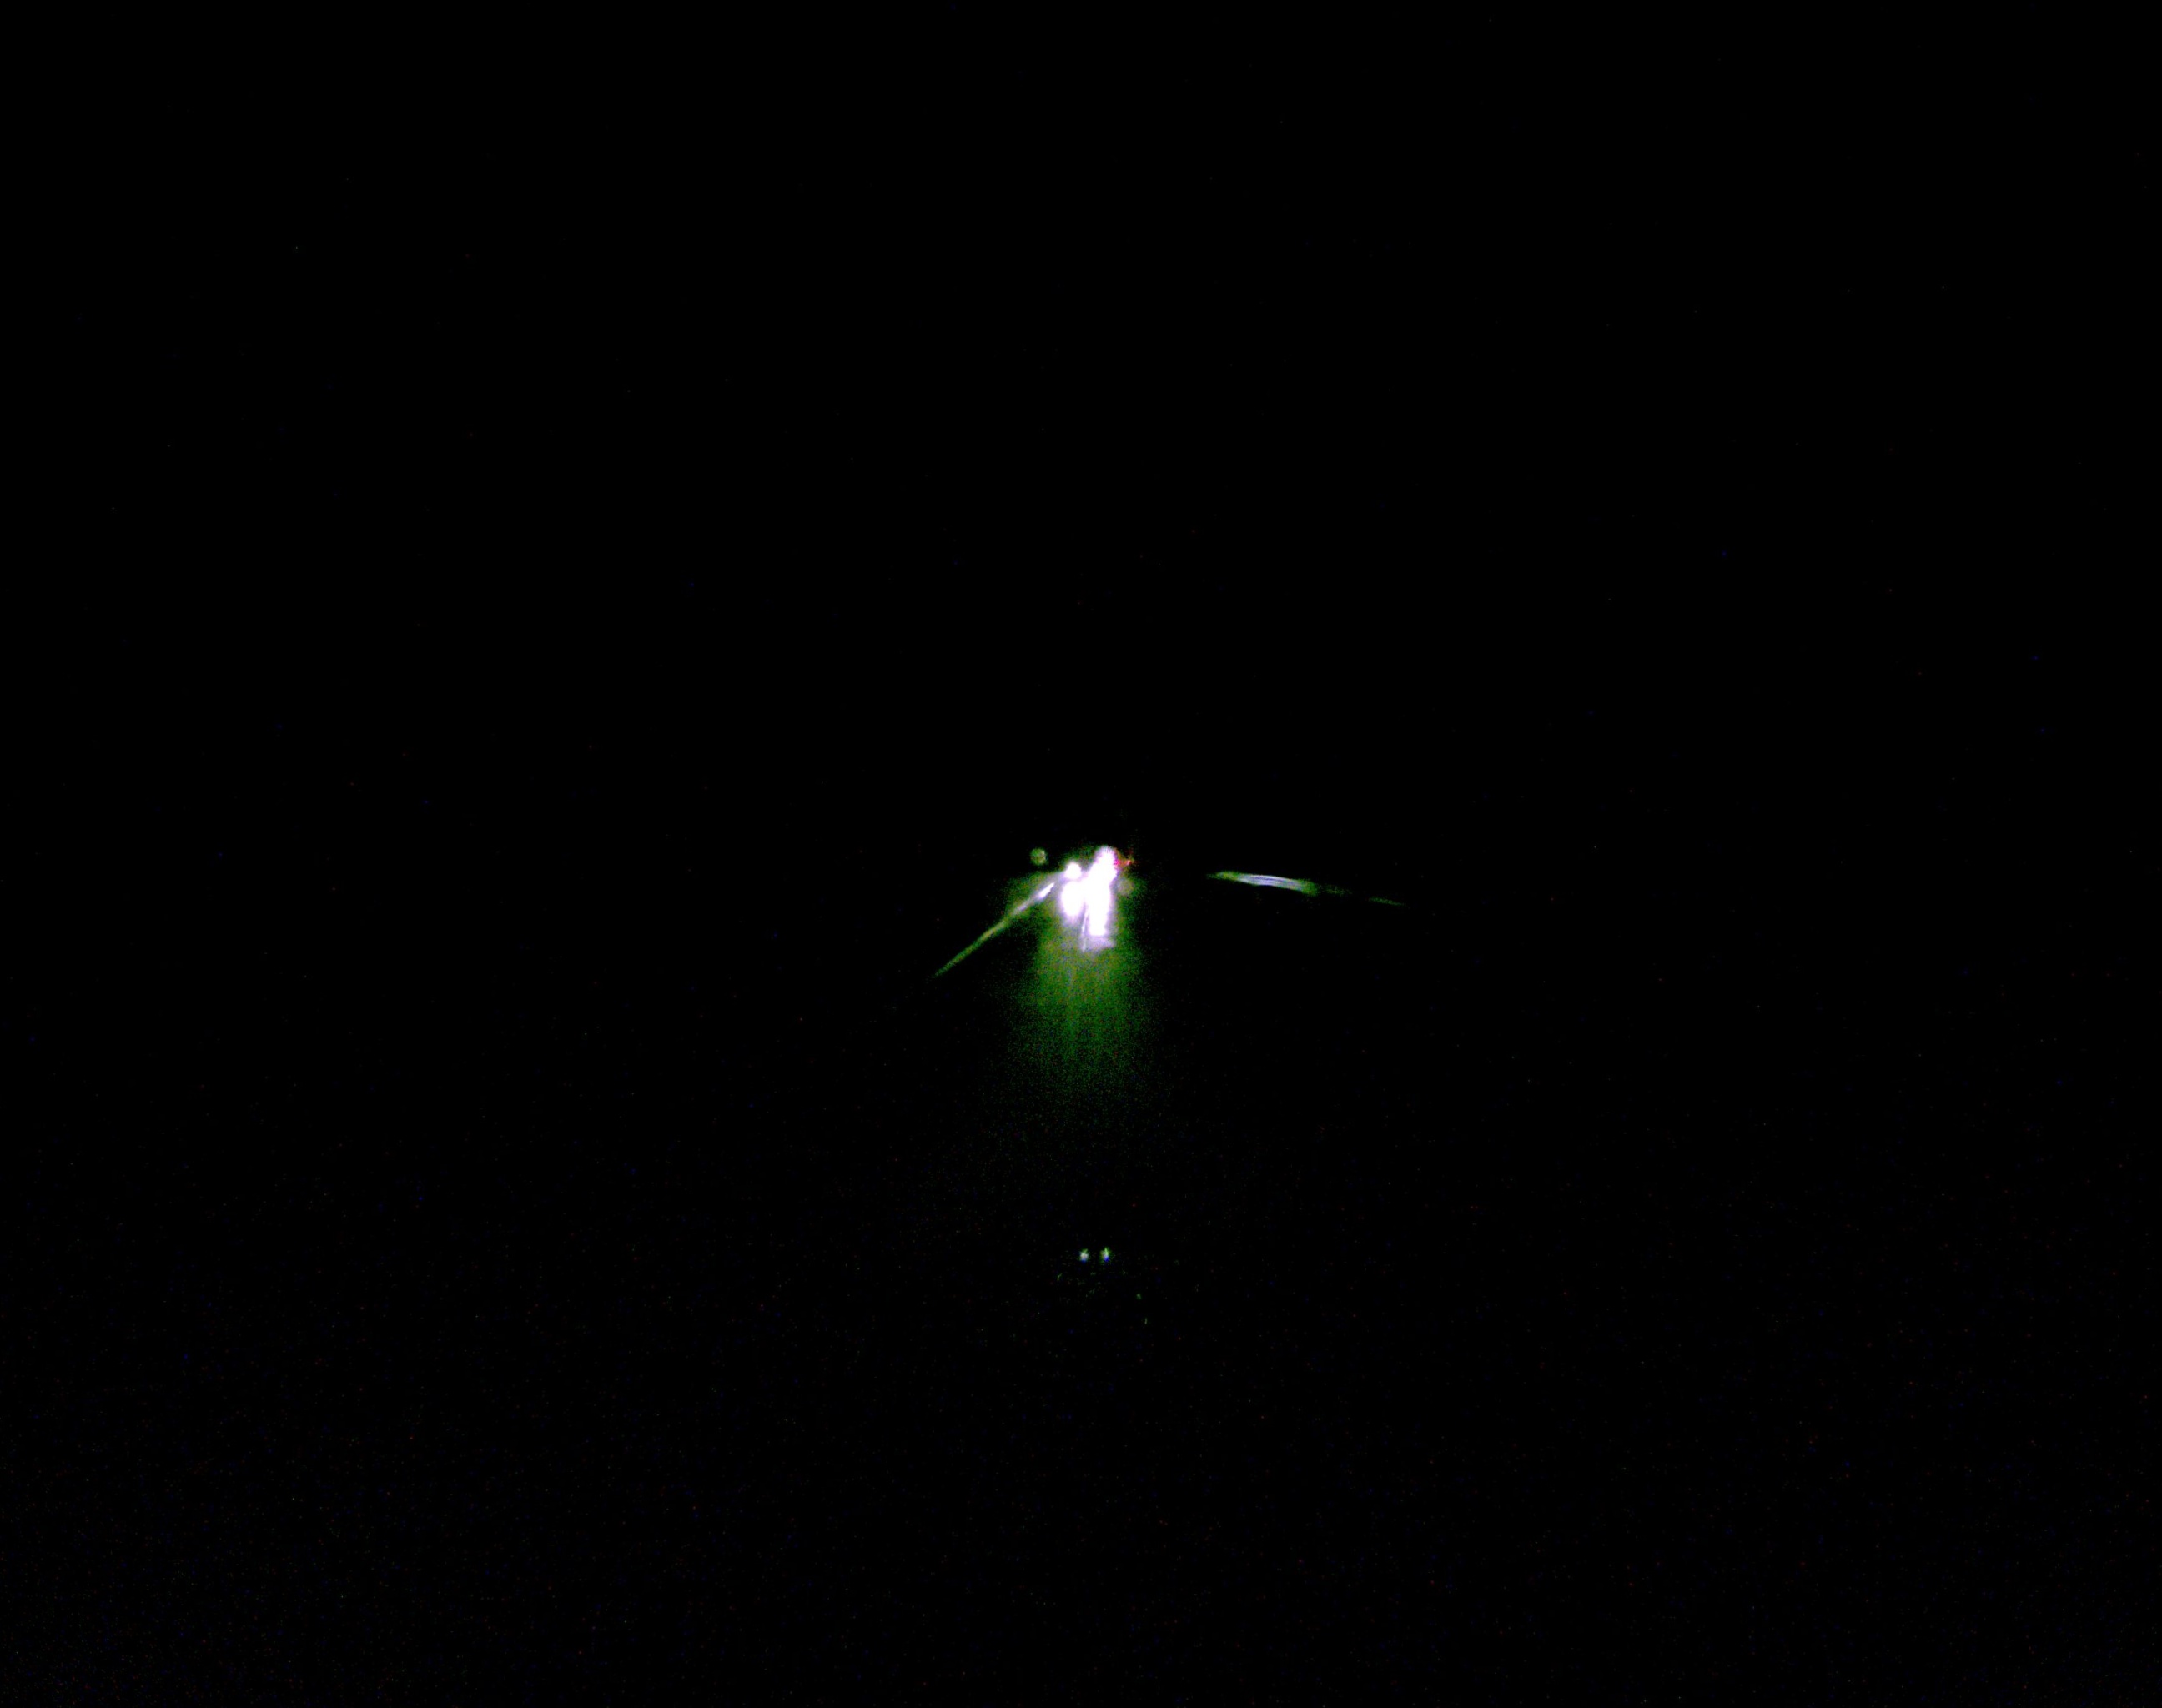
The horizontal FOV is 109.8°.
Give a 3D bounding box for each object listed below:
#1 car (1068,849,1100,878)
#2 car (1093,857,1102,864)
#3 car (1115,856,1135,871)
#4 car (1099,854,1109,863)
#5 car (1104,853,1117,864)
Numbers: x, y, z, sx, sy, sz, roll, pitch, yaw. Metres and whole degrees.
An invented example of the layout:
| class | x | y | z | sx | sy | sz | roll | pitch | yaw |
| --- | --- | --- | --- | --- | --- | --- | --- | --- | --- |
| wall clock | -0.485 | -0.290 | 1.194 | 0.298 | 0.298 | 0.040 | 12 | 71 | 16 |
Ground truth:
| class | x | y | z | sx | sy | sz | roll | pitch | yaw |
| --- | --- | --- | --- | --- | --- | --- | --- | --- | --- |
| car | 0.238 | 0.580 | 50.523 | 1.998 | 1.804 | 4.000 | -1 | 0 | 1 |
| car | 3.858 | 1.586 | 174.783 | 1.998 | 1.551 | 4.001 | 0 | -1 | 2 |
| car | 4.757 | 1.026 | 83.015 | 1.841 | 1.462 | 4.391 | -1 | 0 | 0 |
| car | 4.102 | 0.841 | 136.098 | 1.833 | 1.447 | 3.793 | 0 | -1 | 0 |
| car | 4.317 | 0.706 | 112.090 | 1.936 | 1.577 | 4.001 | 0 | -1 | 1 |
